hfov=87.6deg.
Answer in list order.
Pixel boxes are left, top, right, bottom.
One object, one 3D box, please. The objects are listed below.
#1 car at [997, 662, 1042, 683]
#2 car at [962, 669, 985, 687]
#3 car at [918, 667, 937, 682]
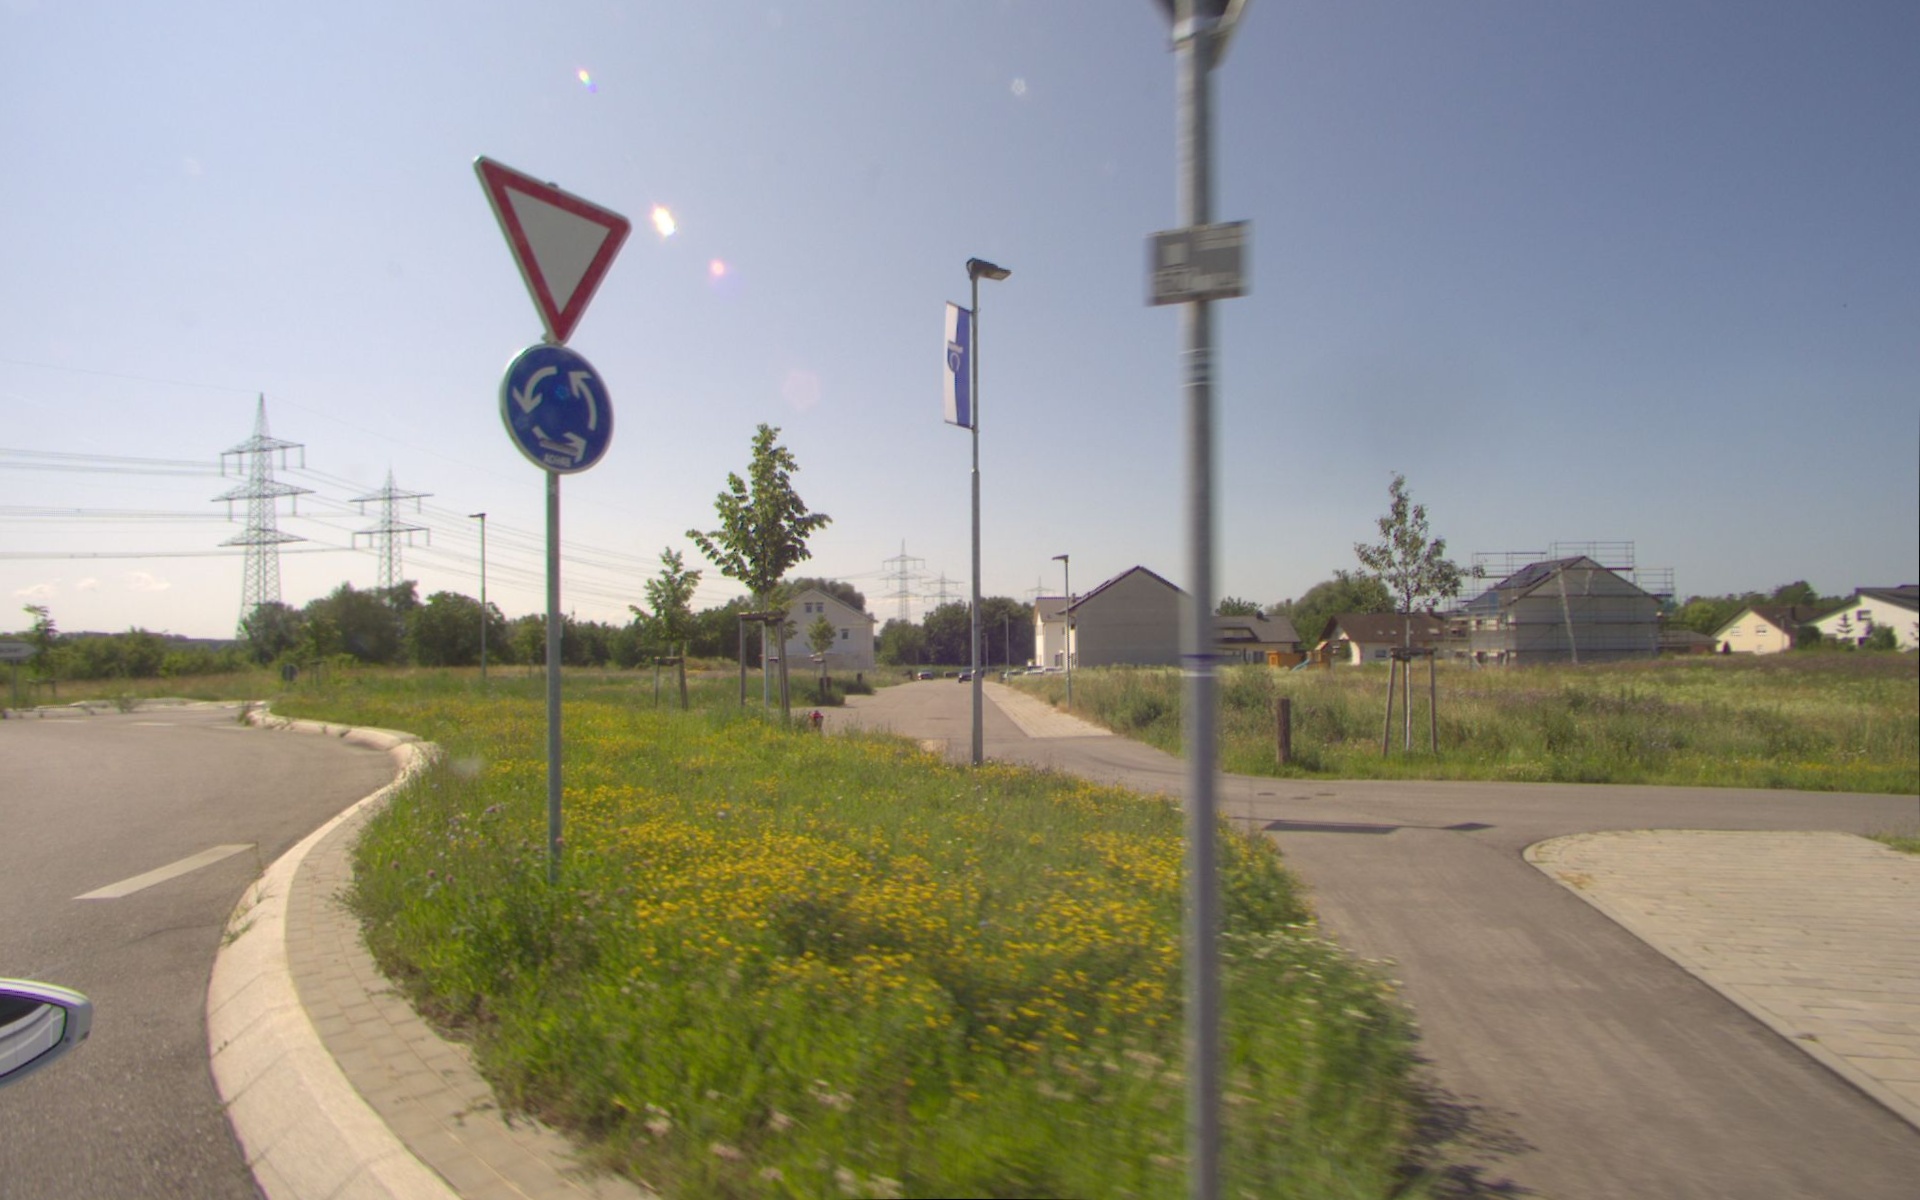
[{"bbox_3d":[5.410,6.623,91.459,3.922,1.815,2.002,-1,-4,1],"label":"car"},{"bbox_3d":[1.301,7.514,96.364,1.649,1.681,3.490,-1,-5,9],"label":"car"},{"bbox_3d":[-3.995,9.194,123.364,1.649,1.681,3.490,-1,-5,9],"label":"car"}]
